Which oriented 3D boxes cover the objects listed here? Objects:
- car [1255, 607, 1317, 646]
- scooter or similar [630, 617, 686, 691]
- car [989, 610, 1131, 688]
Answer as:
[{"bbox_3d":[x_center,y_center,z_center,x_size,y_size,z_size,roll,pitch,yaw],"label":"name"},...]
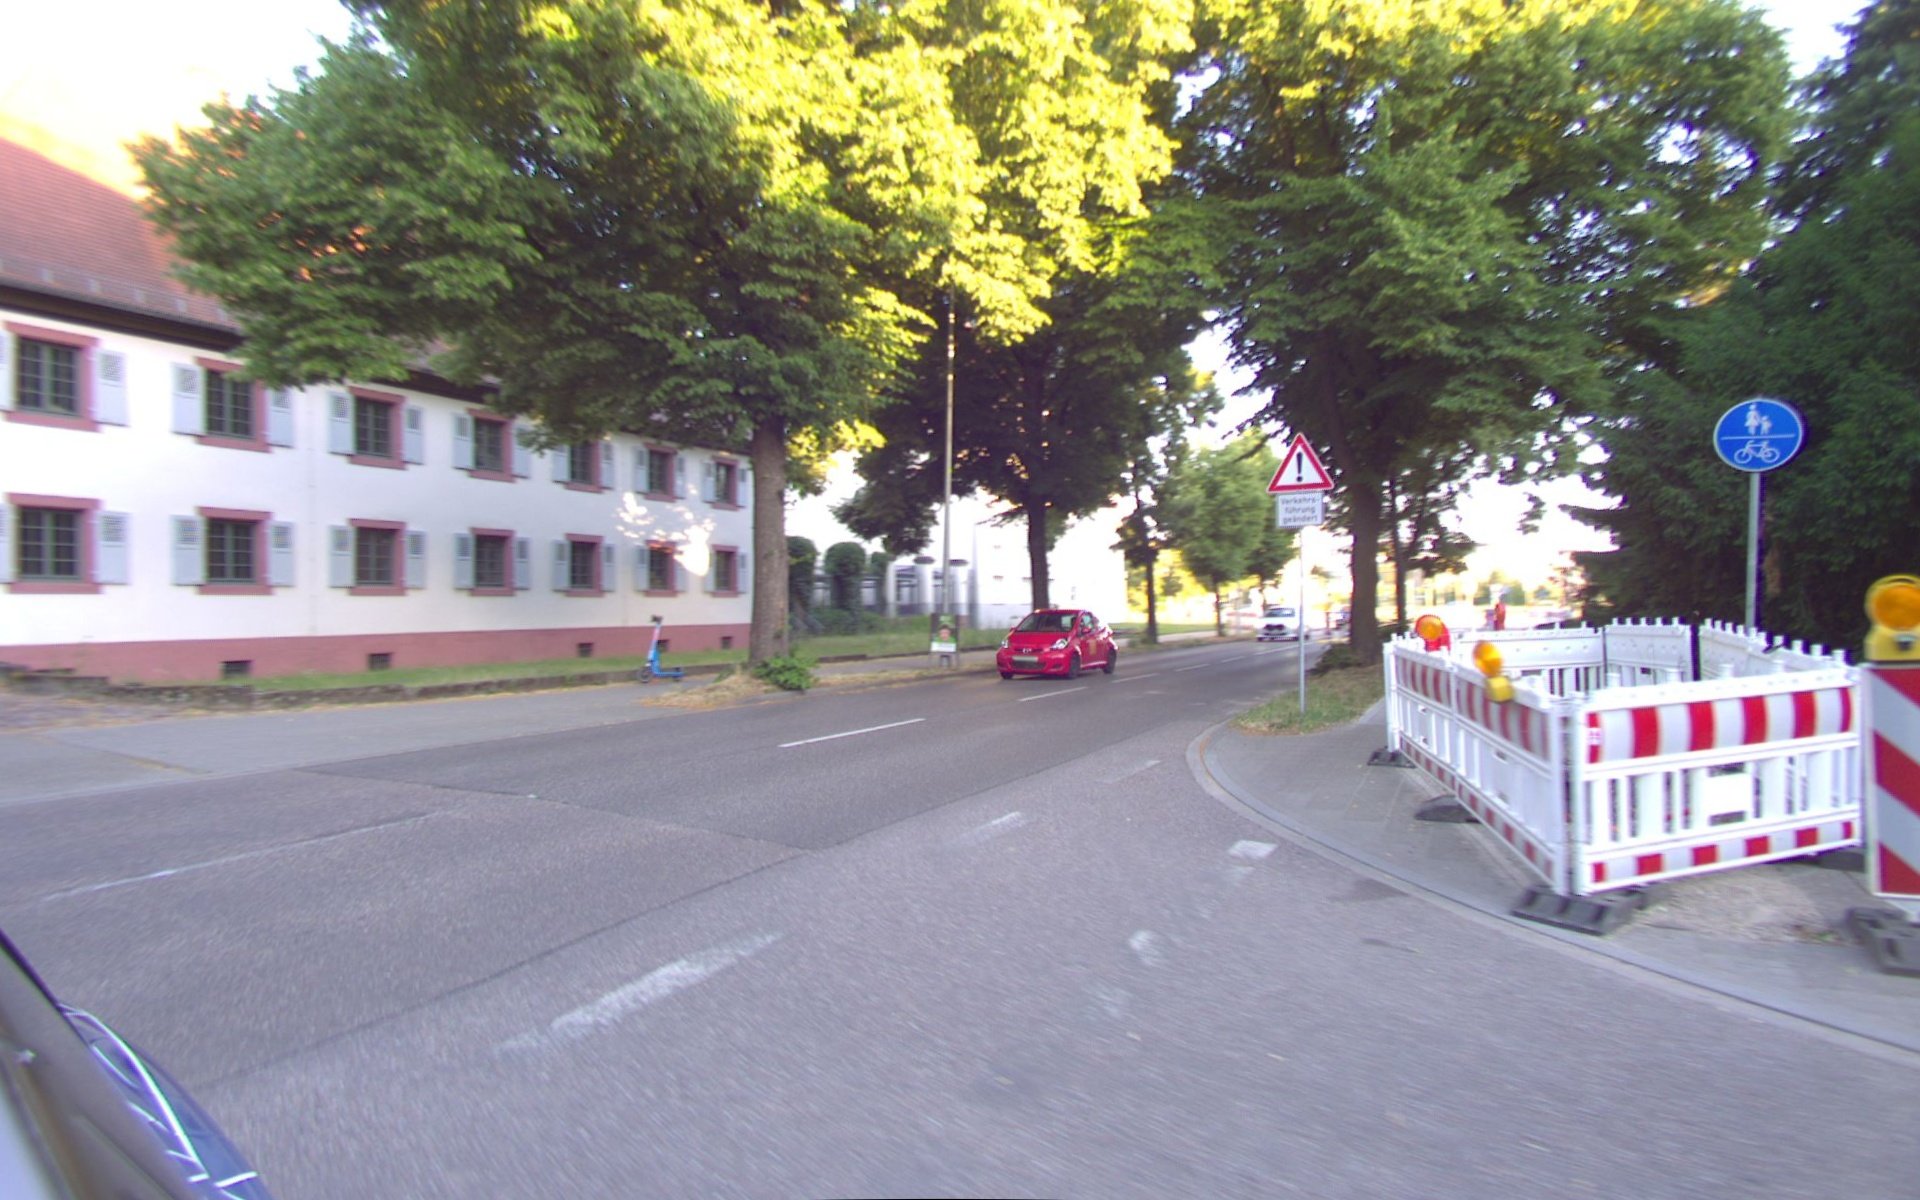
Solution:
[{"bbox_3d":[14.578,1.146,45.173,1.784,1.569,4.366,-2,0,29],"label":"car"},{"bbox_3d":[-5.450,0.953,18.313,0.238,1.285,1.257,-1,0,22],"label":"scooter or similar"},{"bbox_3d":[2.261,0.978,21.736,1.611,1.423,4.372,-2,0,26],"label":"car"}]
